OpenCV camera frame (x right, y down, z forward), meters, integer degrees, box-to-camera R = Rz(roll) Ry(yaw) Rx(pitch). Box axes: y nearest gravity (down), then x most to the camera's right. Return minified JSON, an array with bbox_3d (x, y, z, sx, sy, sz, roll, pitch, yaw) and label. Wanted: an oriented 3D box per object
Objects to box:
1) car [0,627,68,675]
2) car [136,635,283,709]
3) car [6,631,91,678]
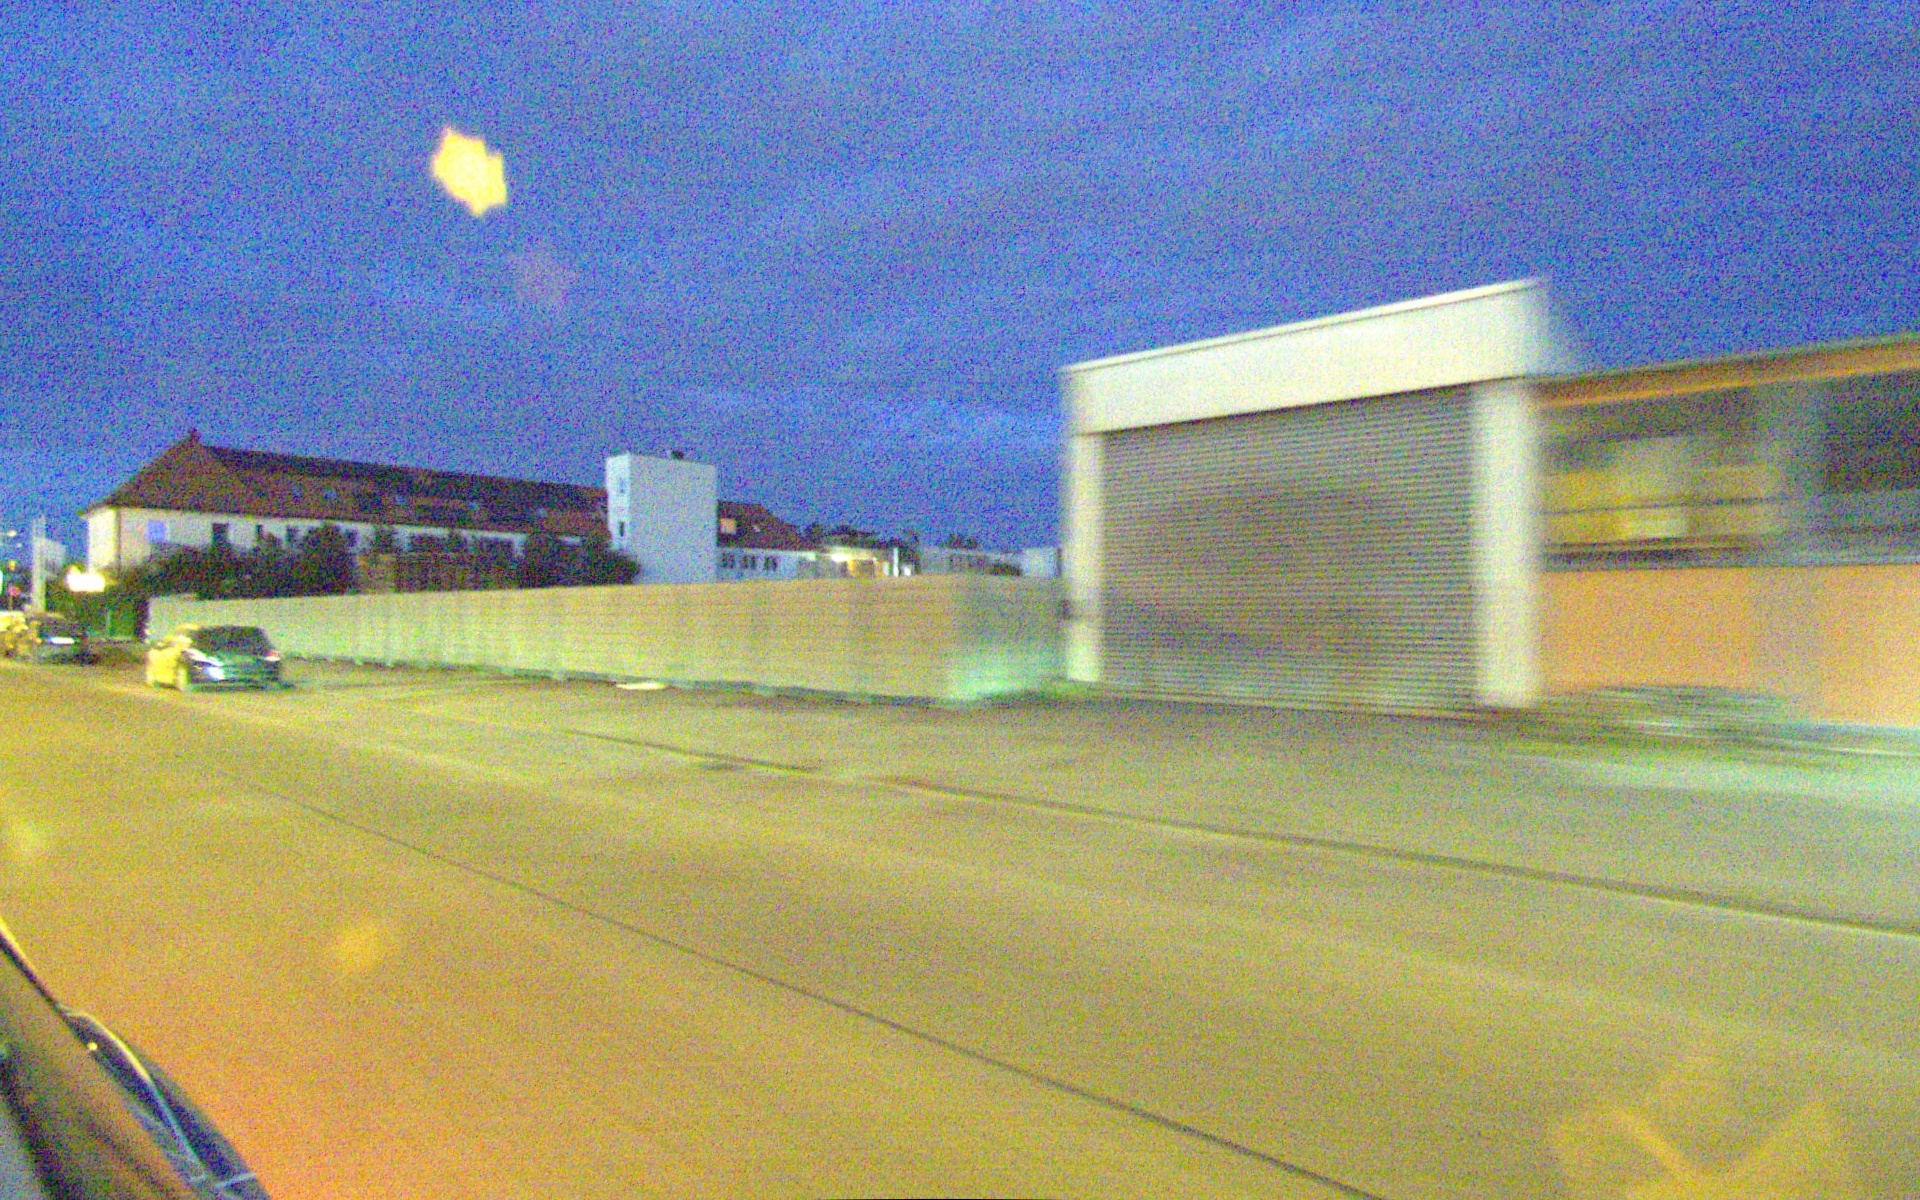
[{"bbox_3d":[-34.351,1.858,37.428,3.779,1.612,1.570,-1,0,41],"label":"car"},{"bbox_3d":[-16.330,1.482,21.943,4.307,1.401,1.738,-2,-2,42],"label":"car"},{"bbox_3d":[-30.786,1.794,34.148,3.877,1.375,1.669,-1,0,41],"label":"car"}]
